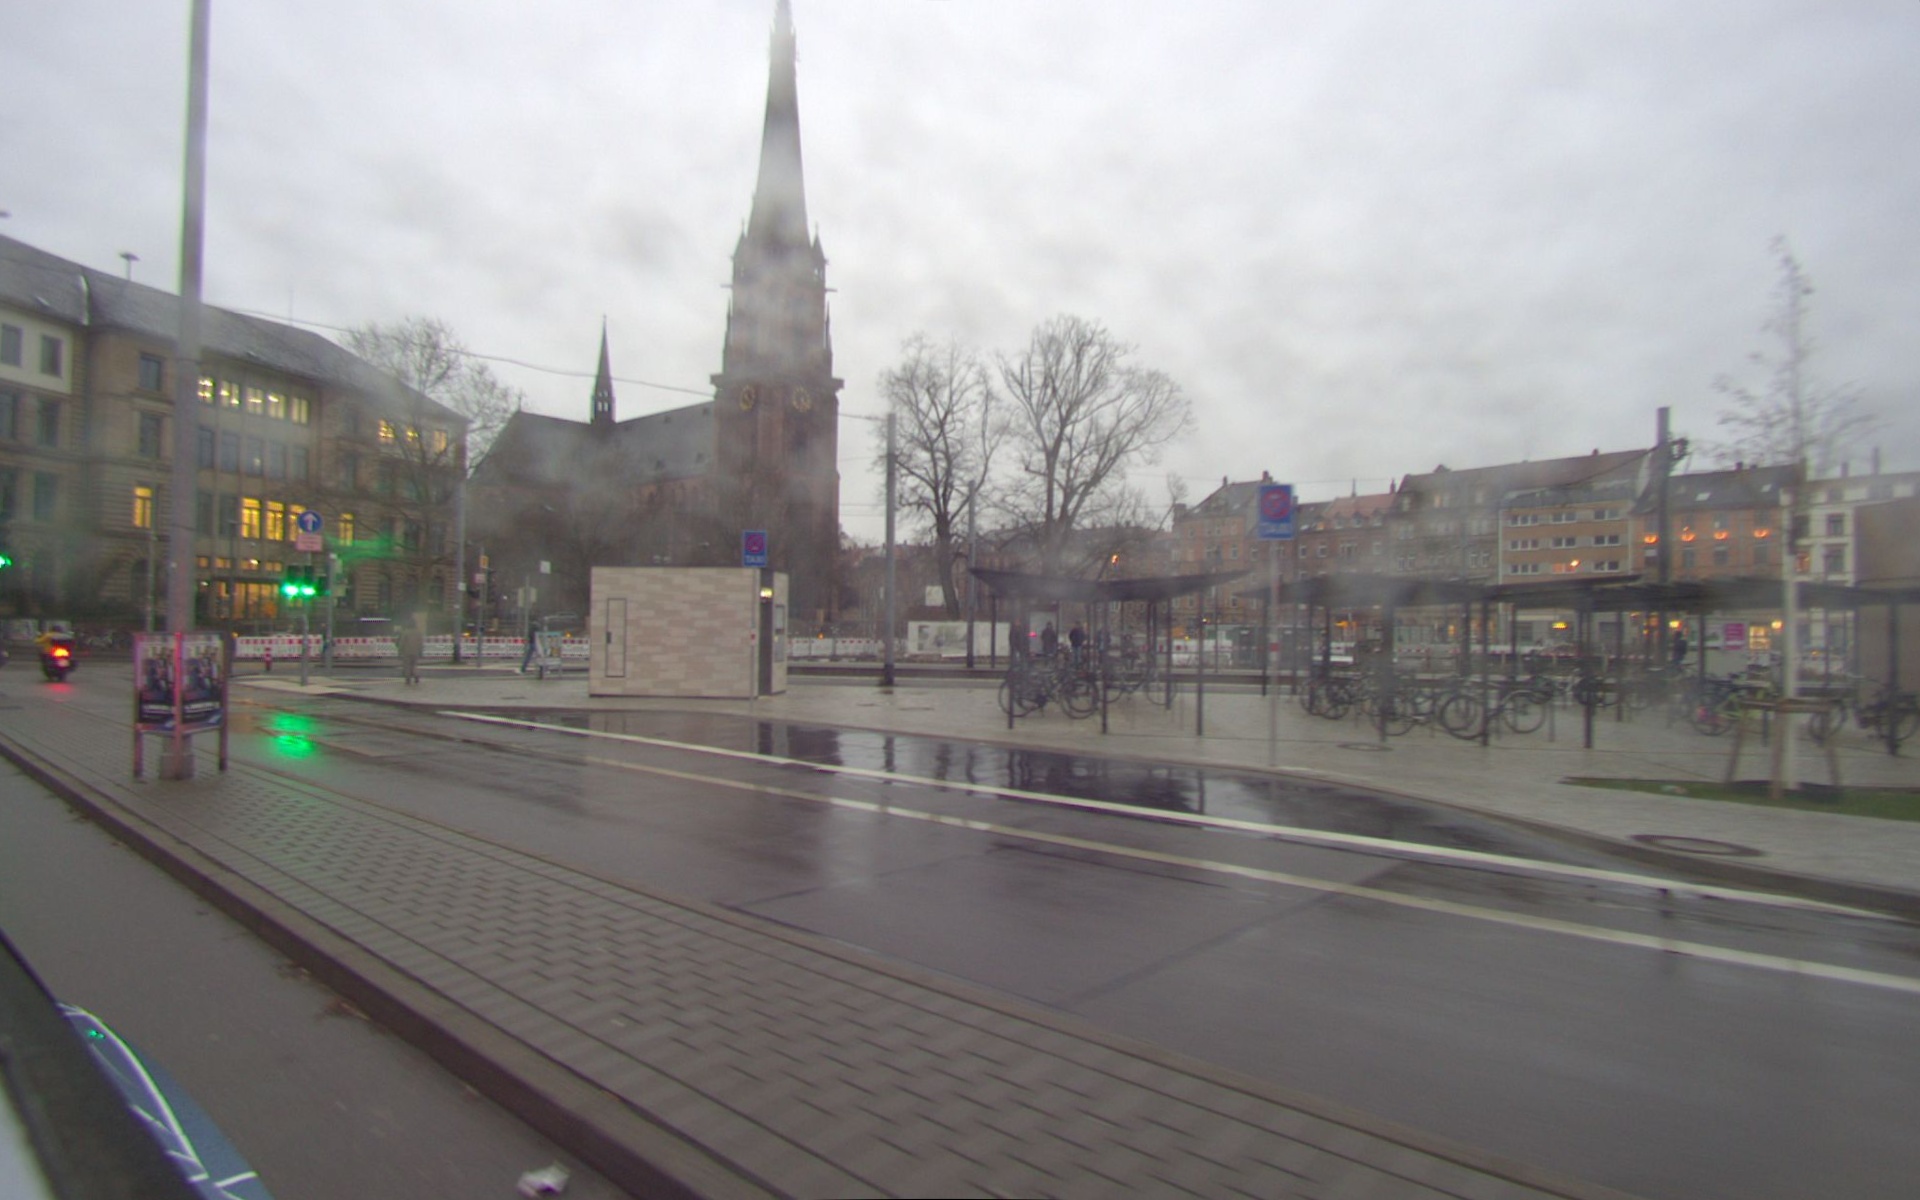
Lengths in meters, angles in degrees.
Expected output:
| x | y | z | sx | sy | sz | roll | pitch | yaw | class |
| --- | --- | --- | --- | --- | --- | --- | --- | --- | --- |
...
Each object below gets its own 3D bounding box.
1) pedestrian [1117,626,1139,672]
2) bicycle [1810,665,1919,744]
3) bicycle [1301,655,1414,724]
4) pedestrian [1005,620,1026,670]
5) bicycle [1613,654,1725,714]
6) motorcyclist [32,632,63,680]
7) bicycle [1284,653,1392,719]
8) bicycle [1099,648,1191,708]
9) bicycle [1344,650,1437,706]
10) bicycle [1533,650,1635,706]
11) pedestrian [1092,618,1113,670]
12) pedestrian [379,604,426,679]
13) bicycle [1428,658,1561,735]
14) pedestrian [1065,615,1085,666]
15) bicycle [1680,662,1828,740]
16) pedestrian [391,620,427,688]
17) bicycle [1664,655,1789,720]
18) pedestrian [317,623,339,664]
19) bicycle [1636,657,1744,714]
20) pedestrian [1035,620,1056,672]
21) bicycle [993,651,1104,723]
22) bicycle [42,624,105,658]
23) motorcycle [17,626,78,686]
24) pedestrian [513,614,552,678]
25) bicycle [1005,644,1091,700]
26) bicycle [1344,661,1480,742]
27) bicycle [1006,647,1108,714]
| x | y | z | sx | sy | sz | roll | pitch | yaw | class |
| --- | --- | --- | --- | --- | --- | --- | --- | --- | --- |
| 6.035 | 1.752 | 36.407 | 0.709 | 1.630 | 0.713 | 1 | -1 | 7 | pedestrian |
| 14.906 | 1.675 | 16.271 | 1.876 | 1.174 | 0.549 | 1 | 0 | 8 | bicycle |
| 7.380 | 1.645 | 18.851 | 1.879 | 1.174 | 0.548 | 1 | 0 | 12 | bicycle |
| 2.020 | 1.623 | 36.763 | 0.709 | 1.770 | 0.713 | 1 | -1 | 7 | pedestrian |
| 15.111 | 1.770 | 21.610 | 1.879 | 1.174 | 0.548 | 1 | 0 | 12 | bicycle |
| -23.961 | 1.464 | 26.573 | 0.610 | 1.202 | 0.530 | 1 | 0 | 39 | motorcyclist |
| 7.290 | 1.642 | 19.582 | 1.879 | 1.174 | 0.548 | 1 | 0 | 12 | bicycle |
| 3.932 | 1.638 | 21.525 | 1.879 | 1.174 | 0.548 | 1 | 0 | 12 | bicycle |
| 9.855 | 1.776 | 23.213 | 1.879 | 1.174 | 0.548 | 1 | 0 | 12 | bicycle |
| 14.216 | 1.762 | 23.087 | 1.879 | 1.174 | 0.548 | 1 | 0 | 12 | bicycle |
| 5.103 | 1.560 | 36.289 | 0.709 | 1.820 | 0.713 | 1 | -1 | 7 | pedestrian |
| -18.341 | 1.352 | 33.305 | 1.062 | 2.388 | 0.984 | 1 | 0 | 37 | pedestrian |
| 8.938 | 1.595 | 16.981 | 1.879 | 1.174 | 0.548 | 1 | 0 | 12 | bicycle |
| 4.144 | 1.443 | 36.453 | 0.709 | 1.820 | 0.713 | 1 | -1 | 7 | pedestrian |
| 13.248 | 1.676 | 16.937 | 1.879 | 1.174 | 0.548 | 1 | 0 | 12 | bicycle |
| -14.031 | 1.359 | 25.778 | 0.663 | 1.686 | 0.732 | 1 | 0 | -18 | pedestrian |
| 15.019 | 1.703 | 19.875 | 1.879 | 1.174 | 0.548 | 1 | 0 | 12 | bicycle |
| -31.473 | 2.167 | 50.397 | 0.731 | 2.029 | 0.646 | 1 | 0 | -8 | pedestrian |
| 16.297 | 1.900 | 22.625 | 1.879 | 1.174 | 0.548 | 1 | 0 | 12 | bicycle |
| 3.105 | 1.646 | 36.594 | 0.709 | 1.820 | 0.713 | 1 | -1 | 7 | pedestrian |
| 1.579 | 1.540 | 18.107 | 1.922 | 1.174 | 0.548 | 1 | 0 | 12 | bicycle |
| -46.229 | 2.112 | 52.809 | 2.388 | 1.701 | 0.715 | 0 | 0 | -33 | bicycle |
| -23.956 | 1.441 | 26.570 | 2.312 | 1.509 | 0.821 | -1 | -3 | 40 | motorcycle |
| -12.581 | 1.351 | 29.800 | 0.821 | 1.827 | 0.599 | -2 | 1 | 28 | pedestrian |
| 2.000 | 1.627 | 23.006 | 1.879 | 1.174 | 0.548 | 1 | 0 | 12 | bicycle |
| 7.208 | 1.604 | 16.207 | 1.879 | 1.174 | 0.548 | 1 | 0 | 12 | bicycle |
| 1.847 | 1.513 | 19.241 | 1.879 | 1.174 | 0.548 | 1 | 0 | 12 | bicycle |
